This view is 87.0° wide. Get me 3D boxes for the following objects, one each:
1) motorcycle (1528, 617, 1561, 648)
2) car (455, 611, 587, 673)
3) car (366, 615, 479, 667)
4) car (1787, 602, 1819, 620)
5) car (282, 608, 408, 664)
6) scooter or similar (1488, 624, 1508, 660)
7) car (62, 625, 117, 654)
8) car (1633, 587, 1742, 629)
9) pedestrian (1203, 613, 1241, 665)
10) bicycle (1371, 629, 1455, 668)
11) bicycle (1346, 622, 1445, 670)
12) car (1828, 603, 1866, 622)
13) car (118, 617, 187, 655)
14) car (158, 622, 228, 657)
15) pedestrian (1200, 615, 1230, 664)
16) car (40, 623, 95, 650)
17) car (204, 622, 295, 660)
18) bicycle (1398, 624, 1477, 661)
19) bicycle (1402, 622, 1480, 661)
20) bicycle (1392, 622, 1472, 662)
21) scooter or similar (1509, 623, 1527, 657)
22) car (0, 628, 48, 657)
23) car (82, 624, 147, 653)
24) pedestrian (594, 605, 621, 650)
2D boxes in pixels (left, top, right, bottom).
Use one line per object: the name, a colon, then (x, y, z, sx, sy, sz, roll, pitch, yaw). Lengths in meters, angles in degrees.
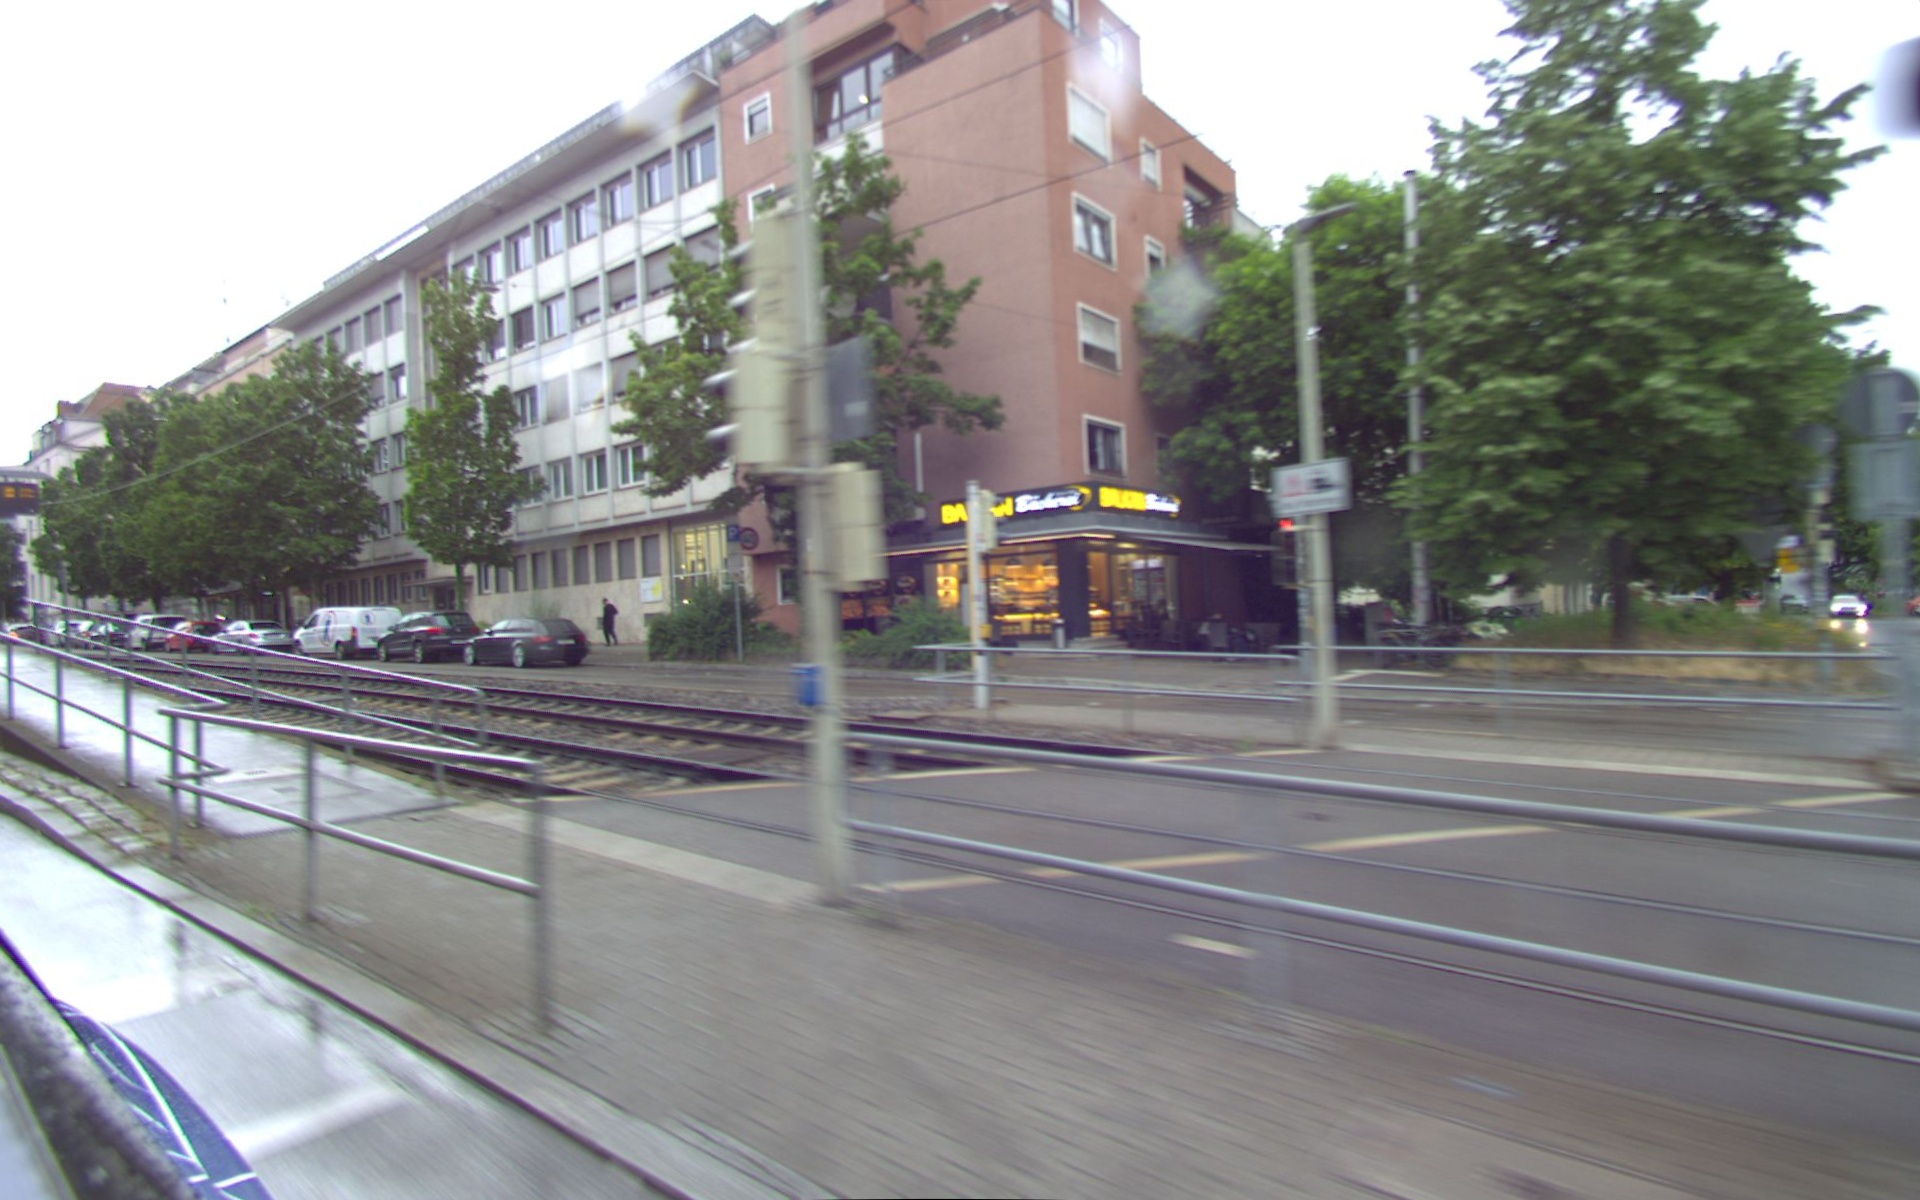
motorcycle: (20.201, 1.115, 34.956, 0.746, 1.015, 1.833, -2, -1, 37)
car: (-12.637, 1.171, 29.044, 4.365, 1.636, 1.623, -1, -1, 39)
car: (-17.395, 1.296, 32.695, 4.365, 1.548, 1.623, -1, -1, 39)
car: (70.052, 0.916, 84.153, 1.998, 1.384, 3.947, -1, -1, 39)
car: (-22.222, 1.274, 36.496, 5.244, 1.858, 1.891, -1, -1, 34)
scooter or similar: (15.259, 1.176, 28.695, 0.283, 0.988, 1.118, -2, -1, 38)
car: (-48.807, 2.186, 56.698, 4.017, 1.549, 1.623, -1, -1, 39)
car: (40.801, 0.494, 56.901, 4.854, 2.226, 1.885, -2, -1, 36)
pedestrian: (6.175, 0.916, 23.832, 0.608, 1.187, 0.668, -2, -1, 43)
bicycle: (9.941, 1.056, 22.231, 1.644, 0.822, 0.336, -1, -1, 38)
bicycle: (9.223, 0.962, 21.471, 1.870, 0.966, 0.475, -1, -1, 38)
car: (65.501, 0.919, 74.780, 1.998, 1.384, 3.947, -1, -1, 39)
car: (-40.266, 1.770, 50.446, 4.424, 1.831, 1.658, -1, -1, 37)
car: (-35.660, 1.800, 47.050, 3.797, 1.551, 1.623, -1, -1, 37)
pedestrian: (6.374, 0.983, 25.337, 0.601, 1.187, 0.677, -1, -1, 6)
car: (-53.835, 2.179, 60.998, 4.330, 1.596, 1.642, -1, -1, 37)
car: (-29.418, 1.679, 41.860, 4.520, 1.473, 1.677, -1, -1, 35)
bicycle: (11.268, 0.994, 23.929, 1.645, 0.849, 0.334, -1, -1, 41)
bicycle: (11.563, 0.984, 24.361, 1.645, 0.910, 0.335, -1, -1, 41)
bicycle: (11.029, 0.972, 23.680, 1.645, 0.917, 0.335, -1, -1, 41)
scooter or similar: (16.788, 1.189, 30.462, 0.283, 0.988, 1.118, -2, -1, 38)
car: (-51.787, 2.316, 55.529, 4.520, 1.473, 1.677, -1, -1, 35)
car: (-44.939, 2.035, 53.746, 4.722, 1.451, 1.623, -1, -1, 37)
pedestrian: (-12.453, 0.975, 35.753, 0.583, 1.569, 0.693, -1, -1, 32)
